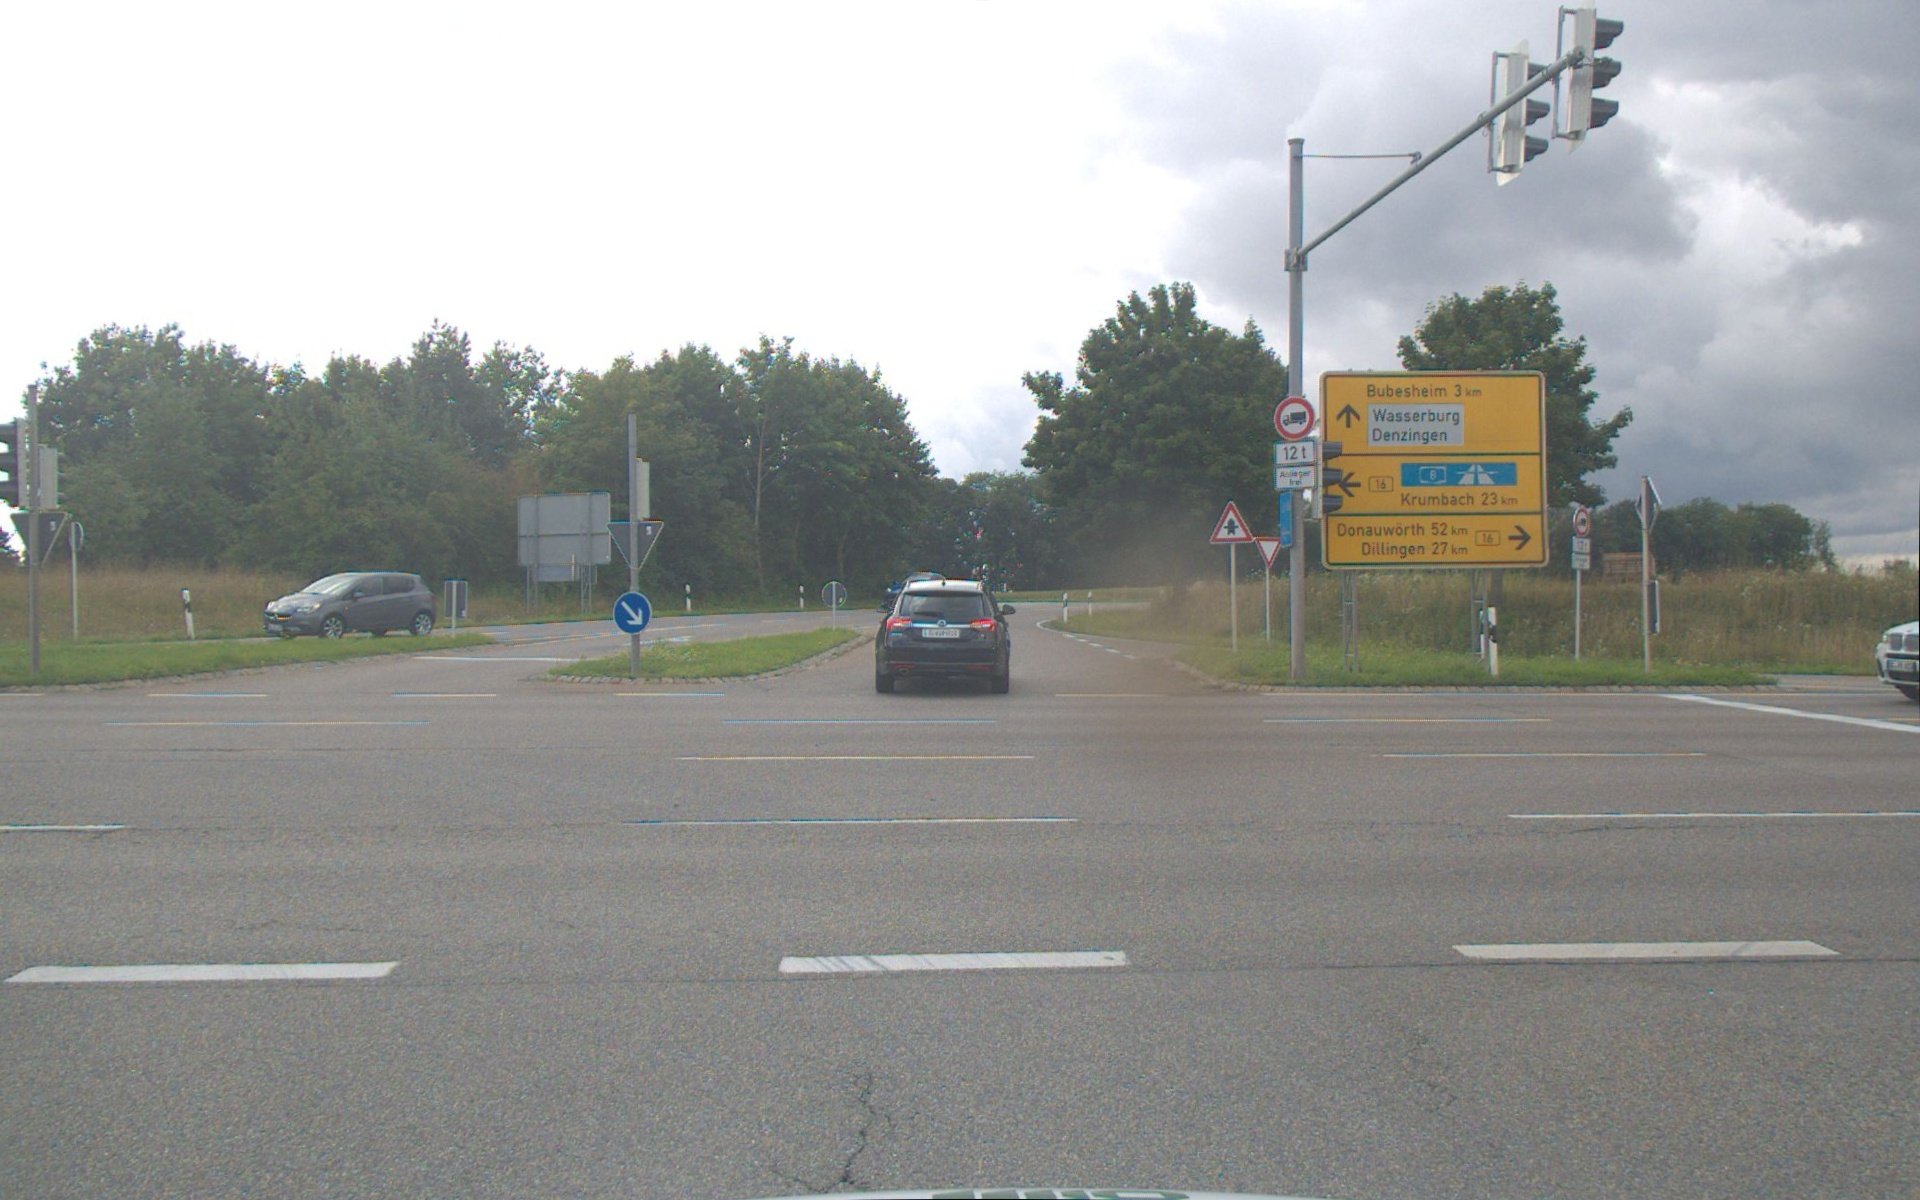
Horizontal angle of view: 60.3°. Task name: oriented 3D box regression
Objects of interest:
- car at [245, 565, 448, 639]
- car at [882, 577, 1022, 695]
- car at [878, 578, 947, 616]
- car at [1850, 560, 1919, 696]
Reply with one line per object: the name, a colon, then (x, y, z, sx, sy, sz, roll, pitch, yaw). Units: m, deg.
car: (-13.794, 0.053, 37.384, 1.957, 1.562, 3.991, 0, 0, 31)
car: (-0.081, 0.427, 23.011, 1.770, 1.476, 4.273, 0, 1, 0)
car: (-2.000, -0.144, 71.251, 1.951, 1.598, 4.761, 0, 0, 12)
car: (13.805, 0.342, 20.812, 4.177, 1.657, 1.998, 0, -1, -4)
